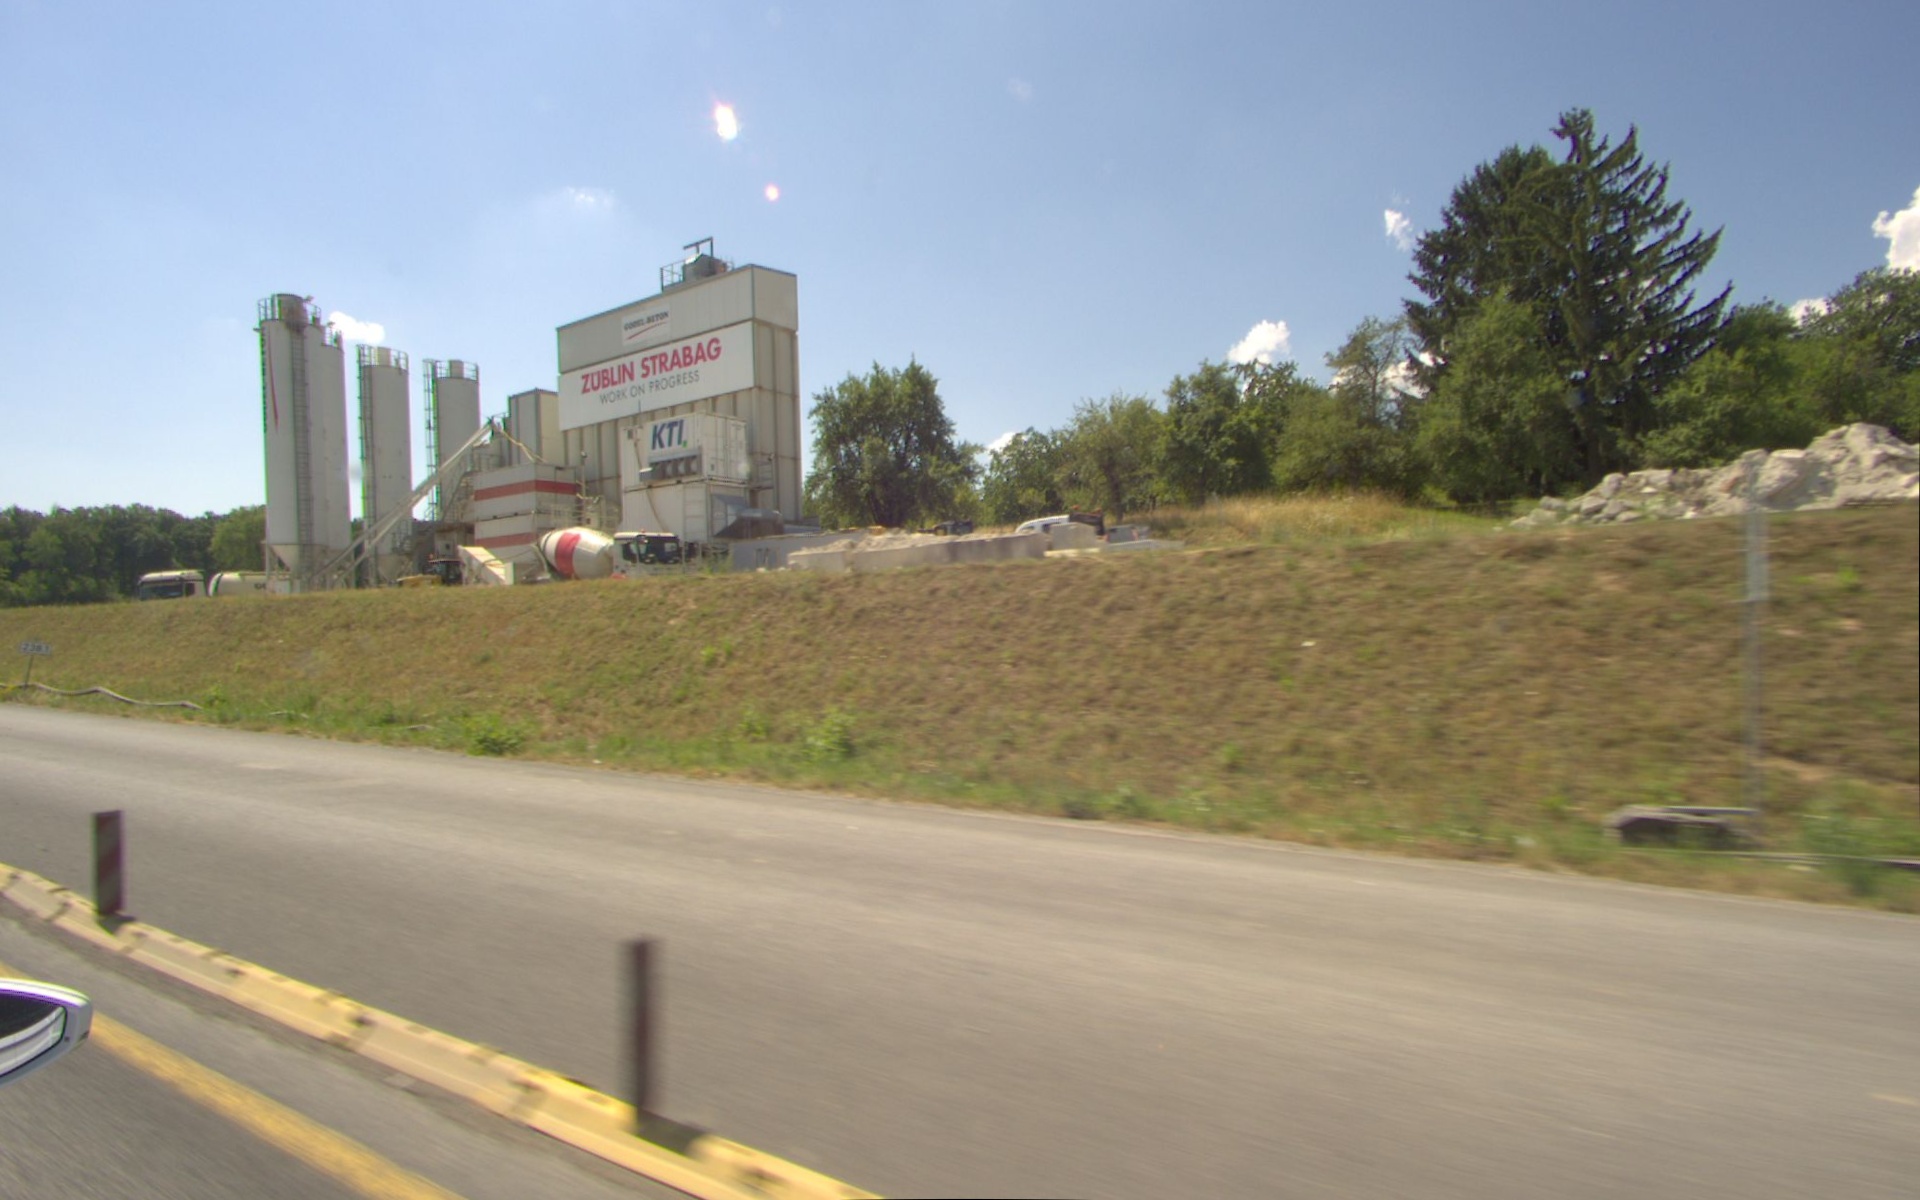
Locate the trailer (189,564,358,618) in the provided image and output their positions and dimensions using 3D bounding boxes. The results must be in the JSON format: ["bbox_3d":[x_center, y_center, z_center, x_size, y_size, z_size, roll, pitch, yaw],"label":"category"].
[{"bbox_3d":[-44.317,-0.479,65.108,3.271,3.271,9.012,0,-1,18],"label":"trailer"}]

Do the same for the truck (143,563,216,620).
[{"bbox_3d":[-45.901,-0.434,59.034,2.866,3.154,5.975,0,0,-33],"label":"truck"}]

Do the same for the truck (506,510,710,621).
[{"bbox_3d":[-15.461,-1.280,43.557,9.796,4.353,3.425,-1,0,36],"label":"truck"}]

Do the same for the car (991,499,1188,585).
[{"bbox_3d":[3.533,-1.494,27.545,4.921,2.040,2.219,-1,0,32],"label":"car"}]

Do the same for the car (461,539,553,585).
[{"bbox_3d":[-21.952,-1.784,48.471,4.364,2.040,1.990,-1,0,32],"label":"car"}]
